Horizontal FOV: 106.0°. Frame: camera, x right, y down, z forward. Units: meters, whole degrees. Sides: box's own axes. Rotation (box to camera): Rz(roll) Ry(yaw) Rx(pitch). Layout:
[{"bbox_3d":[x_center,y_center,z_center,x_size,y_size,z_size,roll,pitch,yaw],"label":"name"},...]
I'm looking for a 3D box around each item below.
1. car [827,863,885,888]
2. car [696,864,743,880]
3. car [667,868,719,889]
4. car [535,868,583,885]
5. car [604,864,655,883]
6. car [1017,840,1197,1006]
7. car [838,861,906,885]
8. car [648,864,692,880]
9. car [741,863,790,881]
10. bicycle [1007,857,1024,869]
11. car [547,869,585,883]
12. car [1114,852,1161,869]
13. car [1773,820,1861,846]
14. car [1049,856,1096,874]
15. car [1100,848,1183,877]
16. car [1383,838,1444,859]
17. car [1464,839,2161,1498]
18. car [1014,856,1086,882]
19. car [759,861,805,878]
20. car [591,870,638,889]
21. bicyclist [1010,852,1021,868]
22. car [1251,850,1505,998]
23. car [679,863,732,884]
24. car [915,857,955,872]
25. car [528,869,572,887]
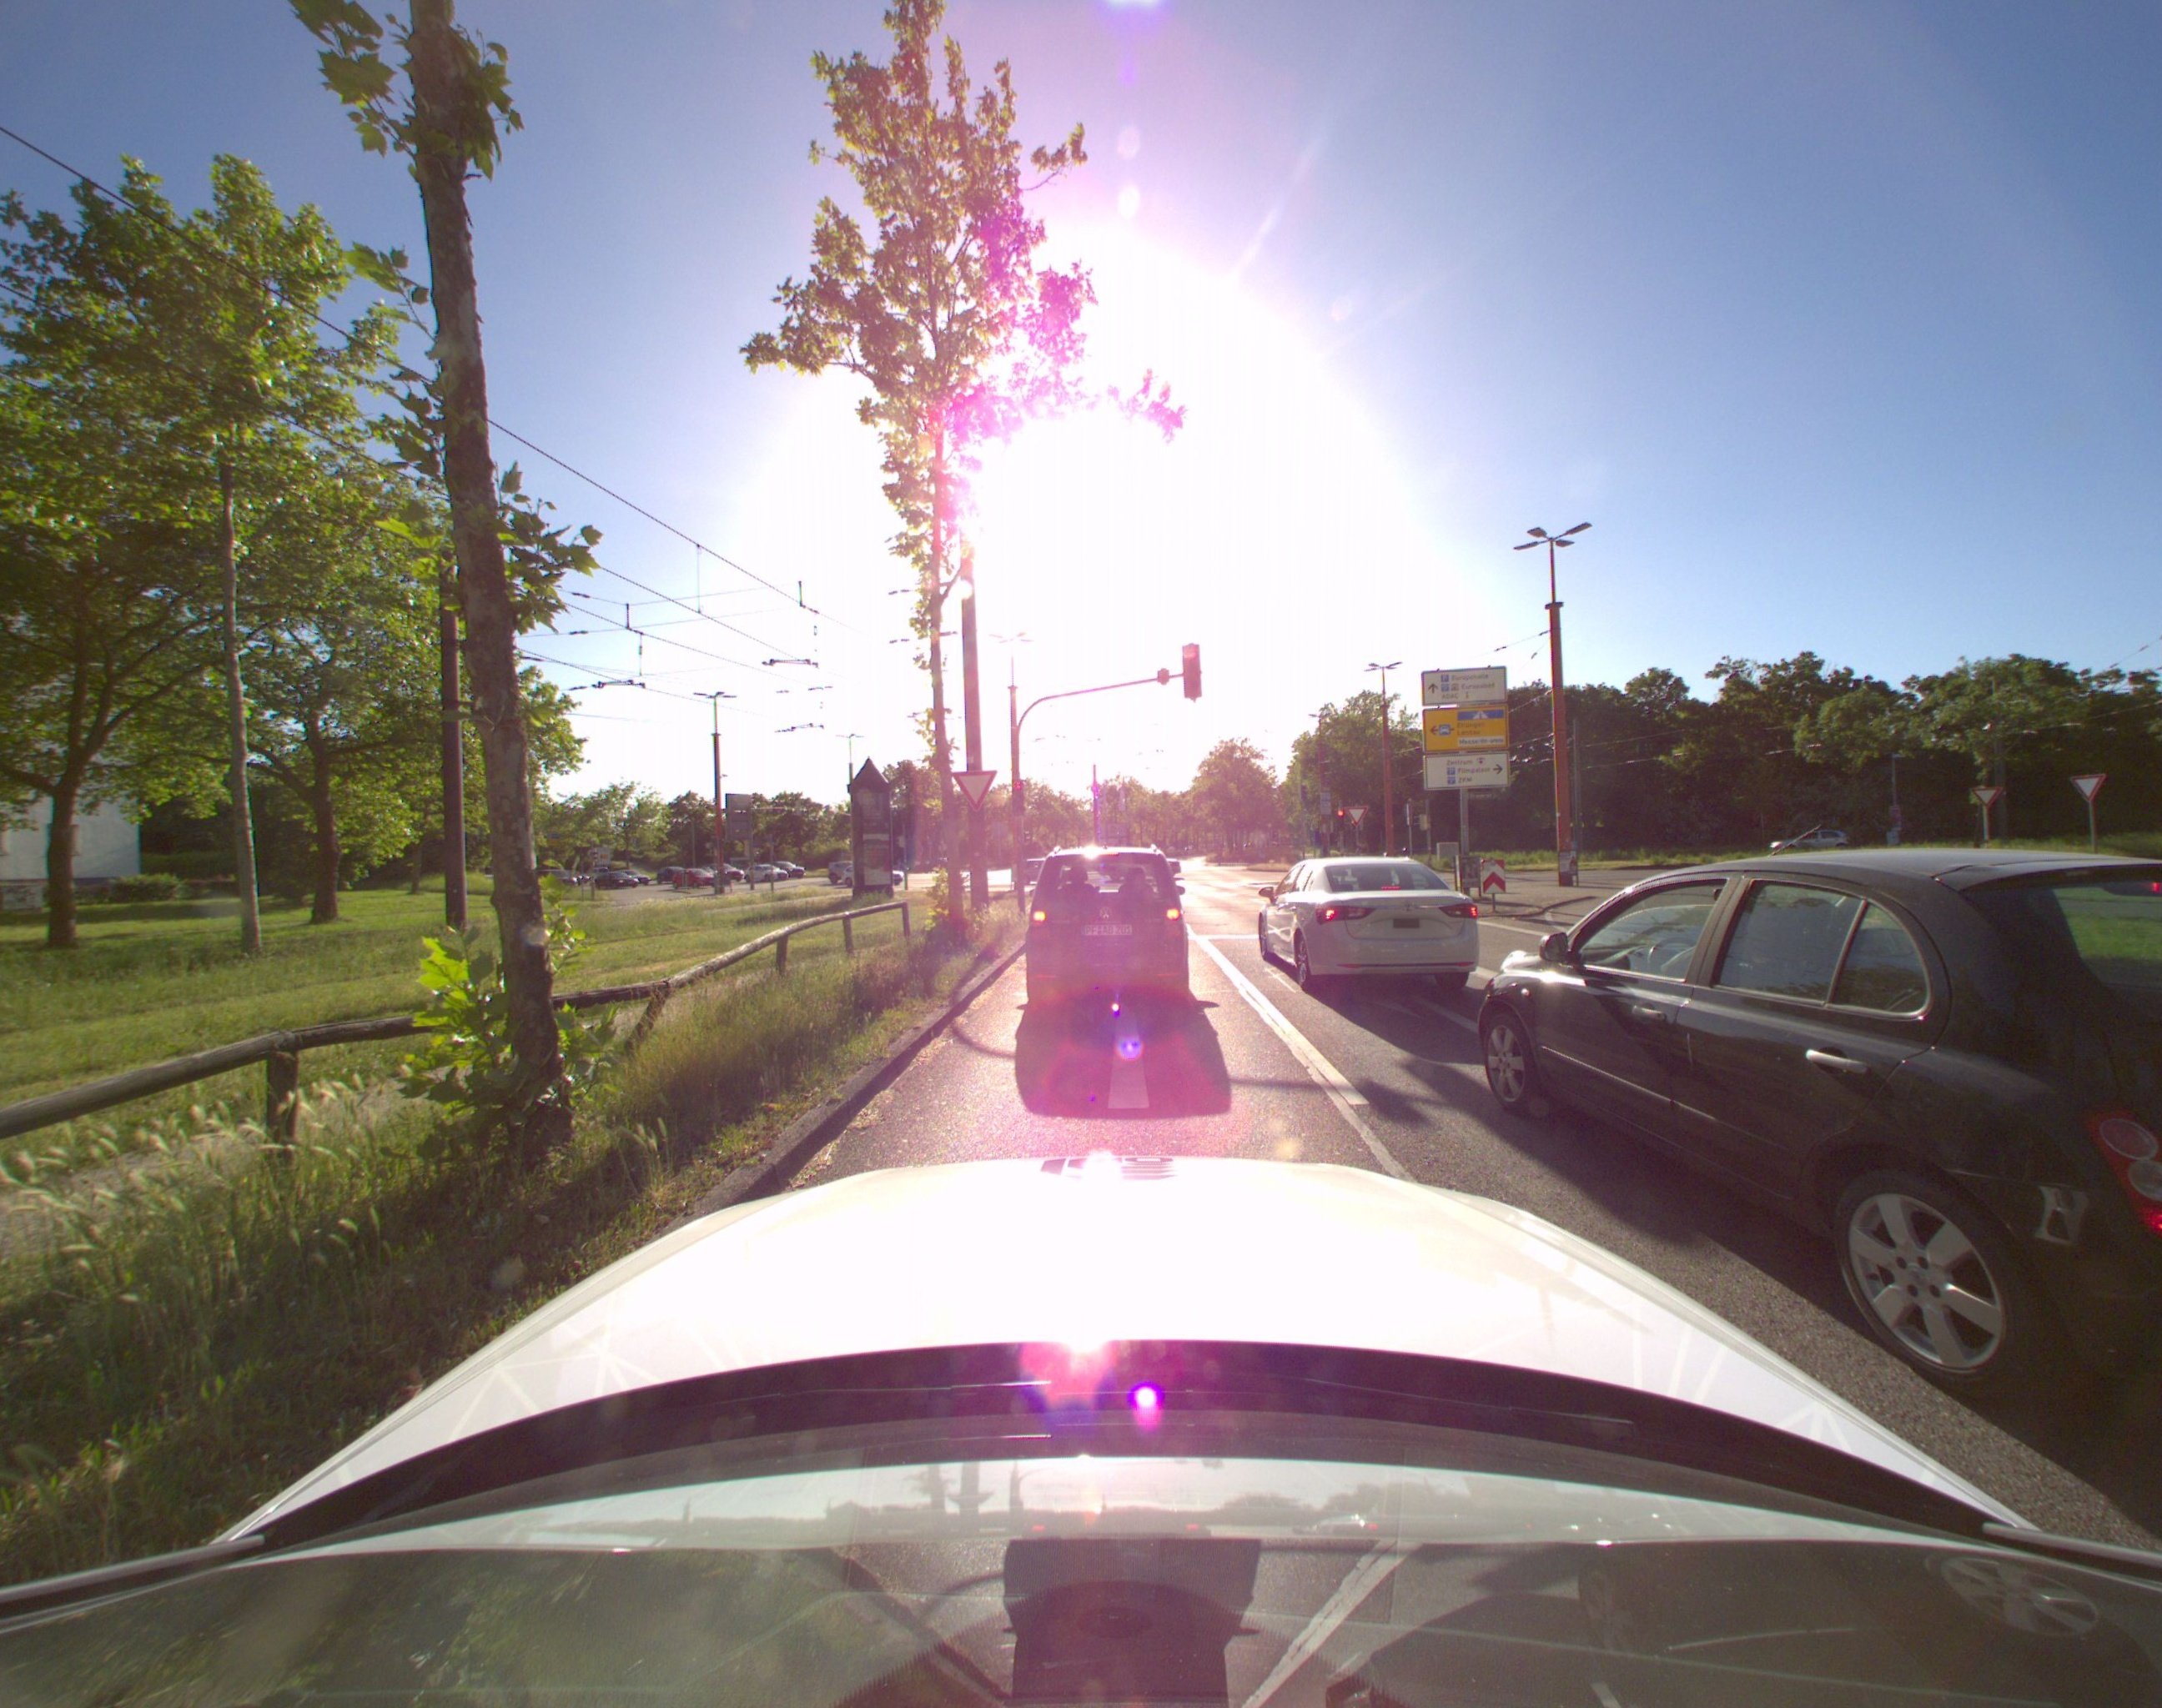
[{"bbox_3d":[-16.333,1.544,59.099,4.285,1.692,1.667,-1,0,34],"label":"car"},{"bbox_3d":[-32.020,1.598,72.097,4.102,1.415,1.553,-1,0,28],"label":"car"},{"bbox_3d":[-29.921,1.851,62.795,4.145,1.520,1.667,-1,0,32],"label":"car"},{"bbox_3d":[-50.750,2.183,79.193,4.585,1.647,1.767,-1,0,26],"label":"car"},{"bbox_3d":[-41.134,1.746,74.186,4.585,1.647,1.767,-1,0,26],"label":"car"},{"bbox_3d":[0.363,0.689,10.081,1.731,1.602,4.329,0,-1,3],"label":"car"},{"bbox_3d":[-13.835,1.256,53.829,4.577,1.520,1.667,-1,0,32],"label":"car"},{"bbox_3d":[-38.201,1.673,75.704,4.102,1.415,1.553,-1,0,28],"label":"car"},{"bbox_3d":[-26.836,1.527,69.185,4.102,1.415,1.553,-1,0,28],"label":"car"},{"bbox_3d":[-7.720,1.033,96.389,0.969,1.388,2.991,-2,0,15],"label":"bicycle"},{"bbox_3d":[-53.019,2.273,83.819,4.102,1.415,1.553,-1,0,28],"label":"car"},{"bbox_3d":[5.097,0.574,73.295,3.877,1.457,1.667,-1,0,28],"label":"car"},{"bbox_3d":[45.661,-1.267,50.606,3.755,1.510,1.667,-1,0,30],"label":"car"},{"bbox_3d":[-0.729,0.986,71.870,3.757,1.510,1.666,-1,0,25],"label":"car"},{"bbox_3d":[3.555,0.506,47.864,4.583,1.647,1.667,-1,0,32],"label":"car"},{"bbox_3d":[25.244,-0.422,61.833,4.095,1.510,1.667,-1,0,30],"label":"car"},{"bbox_3d":[3.177,0.694,3.488,1.570,1.440,3.443,0,-1,2],"label":"car"},{"bbox_3d":[-1.771,0.876,46.809,3.793,1.441,1.667,-1,0,29],"label":"car"},{"bbox_3d":[-26.733,1.385,72.809,4.102,1.415,1.553,-1,0,28],"label":"car"},{"bbox_3d":[-39.510,2.124,68.950,4.145,1.520,1.667,-1,0,32],"label":"car"},{"bbox_3d":[-7.719,0.670,96.431,0.969,1.904,1.055,-2,0,14],"label":"bicyclist"},{"bbox_3d":[3.370,0.708,10.186,1.792,1.440,4.329,0,-1,3],"label":"car"},{"bbox_3d":[-31.604,1.634,68.529,4.583,1.647,1.767,-1,0,32],"label":"car"},{"bbox_3d":[-15.173,1.130,84.592,3.877,1.457,1.667,-1,0,28],"label":"car"},{"bbox_3d":[-47.945,2.192,73.537,4.145,1.520,1.667,-1,0,32],"label":"car"}]
